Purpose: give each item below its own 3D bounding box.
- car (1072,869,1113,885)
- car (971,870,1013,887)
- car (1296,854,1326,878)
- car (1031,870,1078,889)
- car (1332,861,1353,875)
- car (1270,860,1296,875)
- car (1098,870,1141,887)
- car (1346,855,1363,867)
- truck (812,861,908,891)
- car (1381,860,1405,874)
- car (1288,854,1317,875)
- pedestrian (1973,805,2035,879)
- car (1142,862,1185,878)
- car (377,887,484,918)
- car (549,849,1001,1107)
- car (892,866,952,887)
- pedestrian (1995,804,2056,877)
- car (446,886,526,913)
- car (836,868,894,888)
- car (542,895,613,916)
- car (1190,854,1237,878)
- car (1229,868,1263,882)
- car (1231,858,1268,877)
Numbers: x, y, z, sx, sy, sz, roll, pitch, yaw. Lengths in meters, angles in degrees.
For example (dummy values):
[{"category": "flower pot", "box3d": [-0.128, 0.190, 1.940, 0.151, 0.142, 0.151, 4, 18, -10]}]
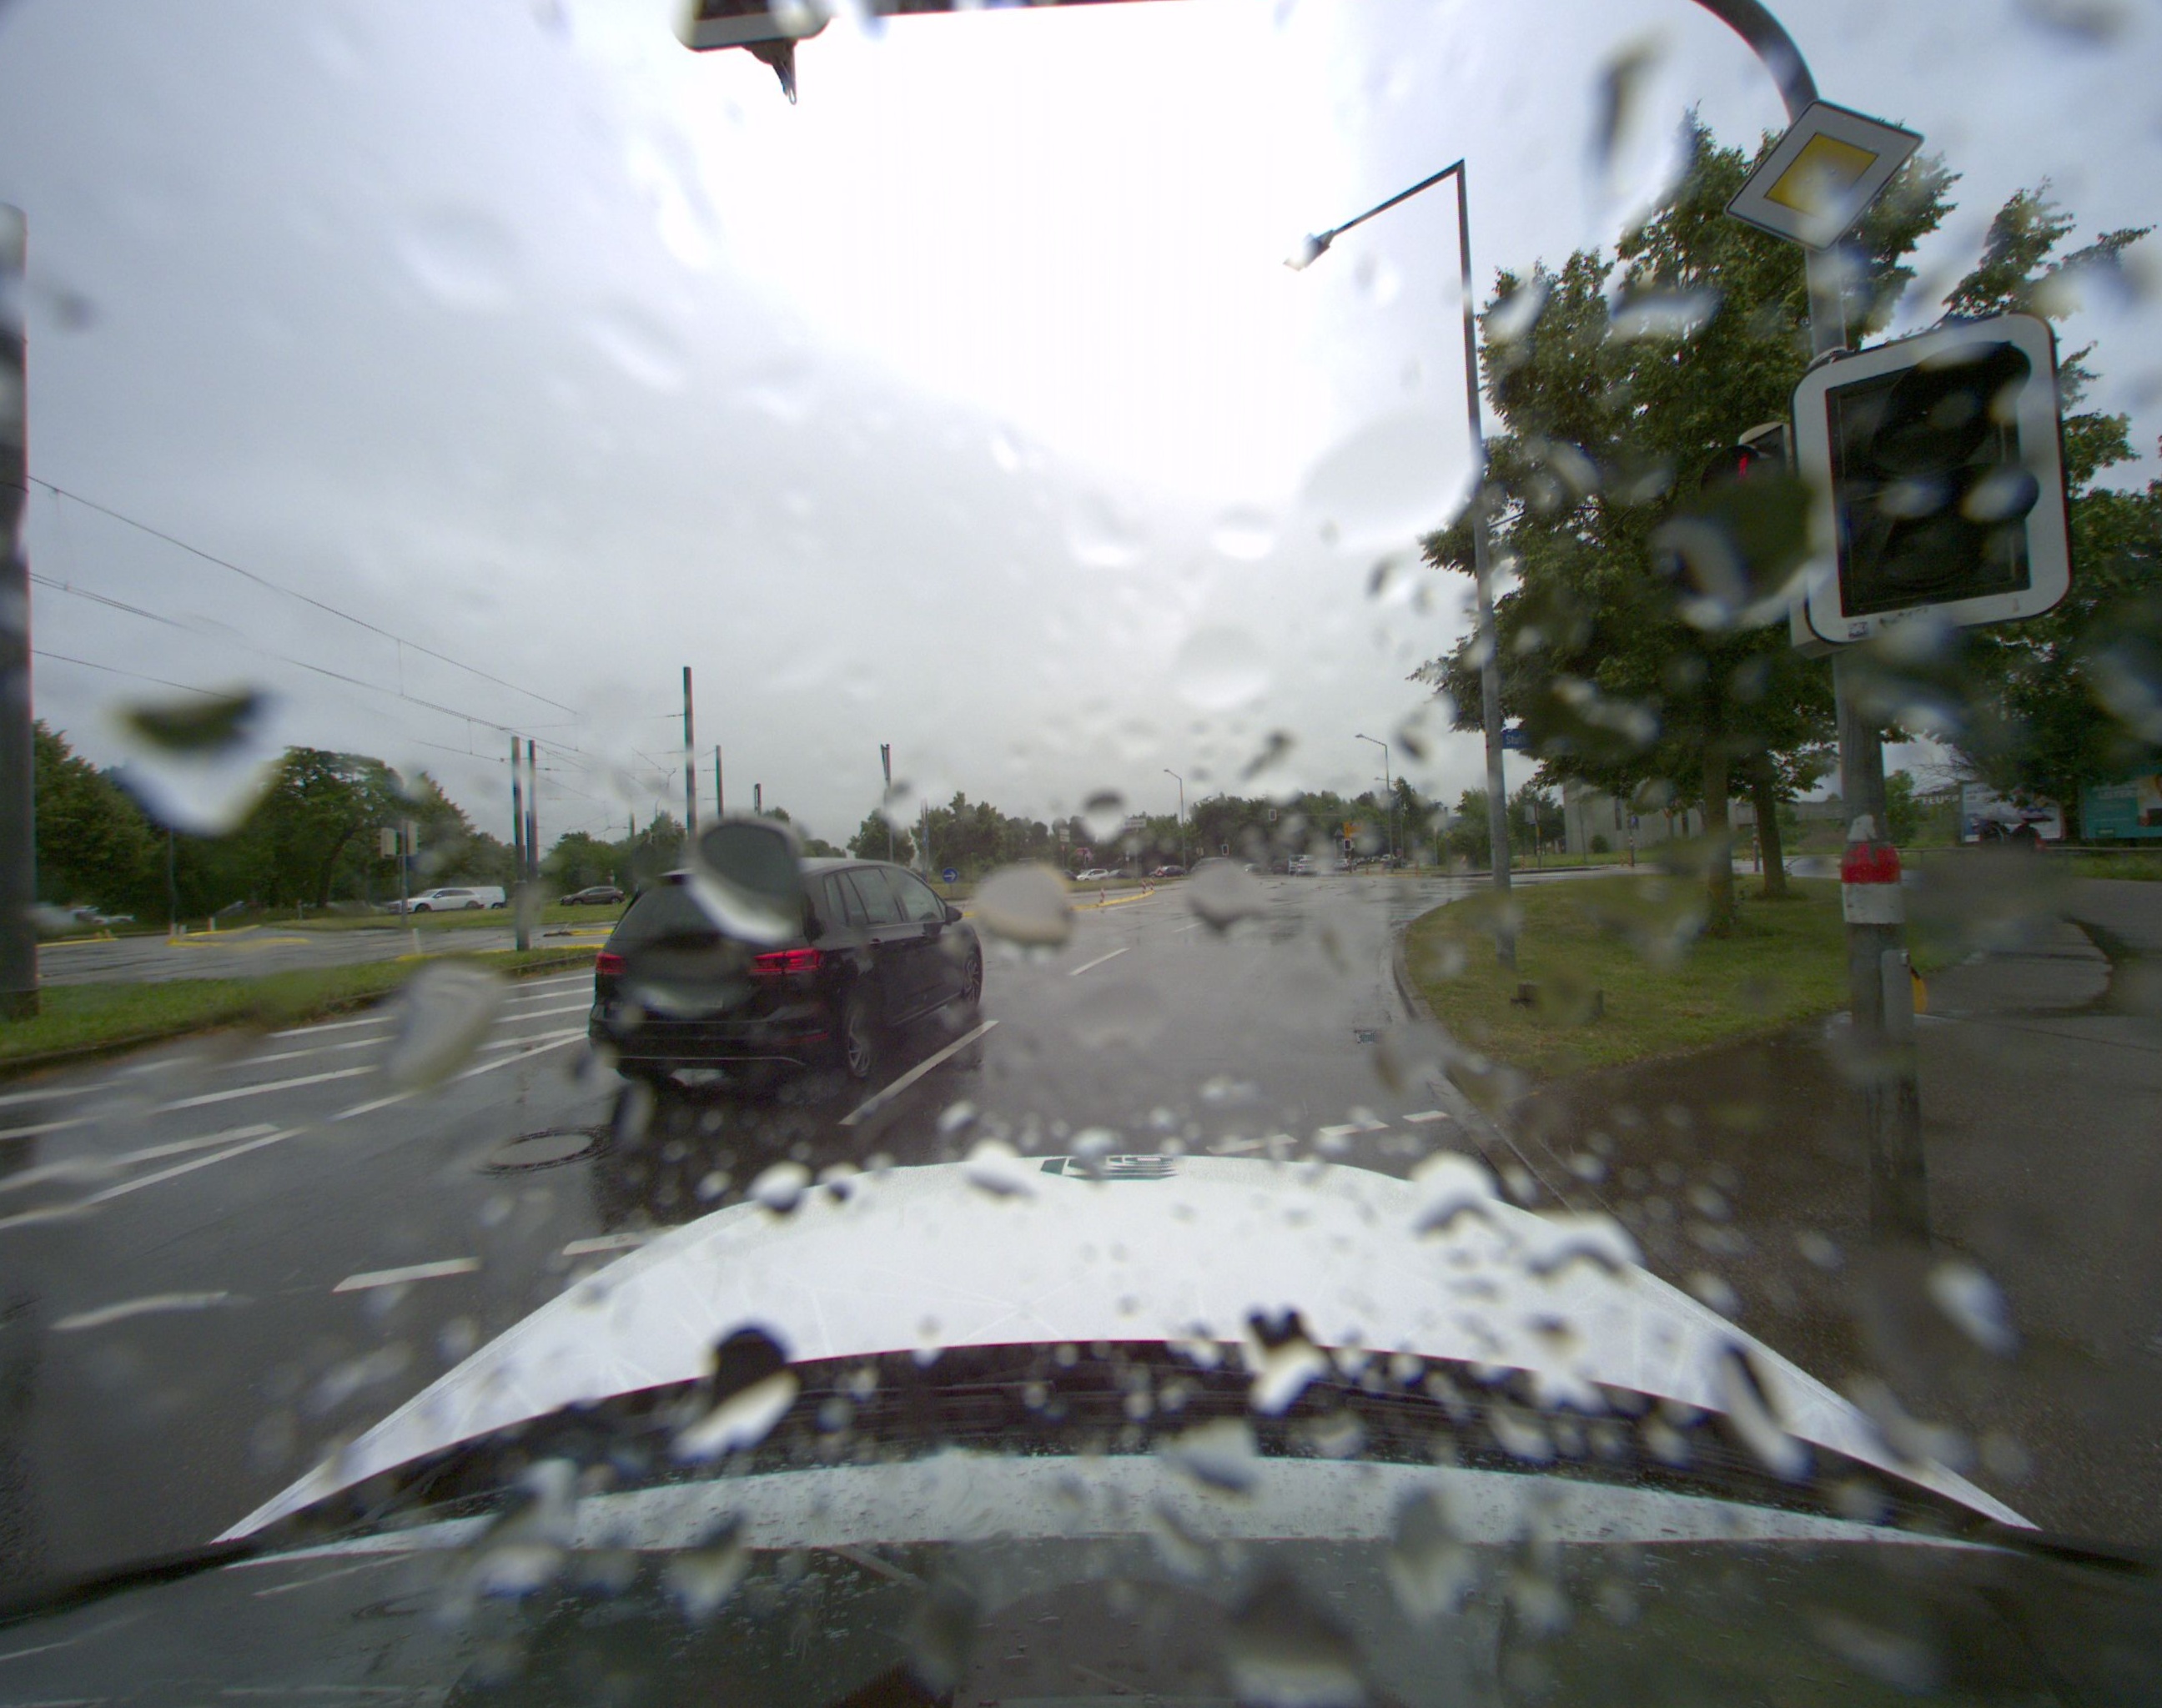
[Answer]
[{"category": "car", "box3d": [1.245, 2.432, 86.757, 4.013, 1.648, 1.771, 1, -2, -32]}, {"category": "car", "box3d": [-8.965, 2.466, 82.270, 3.994, 1.648, 1.779, 0, -2, -16]}, {"category": "car", "box3d": [18.698, 0.950, 66.088, 1.768, 1.811, 4.863, -3, -1, 22]}, {"category": "car", "box3d": [-2.474, 2.361, 75.964, 3.999, 1.648, 1.777, 0, -2, -19]}, {"category": "car", "box3d": [31.590, 1.674, 98.198, 1.672, 1.492, 3.271, -3, -1, 30]}, {"category": "car", "box3d": [21.379, 1.418, 86.111, 1.672, 1.492, 3.271, -1, -2, 33]}, {"category": "car", "box3d": [3.926, 2.498, 83.082, 3.999, 1.648, 1.777, 0, -2, -19]}, {"category": "car", "box3d": [46.815, 1.202, 139.443, 1.770, 2.014, 3.697, -1, -2, 36]}, {"category": "truck", "box3d": [-21.064, 2.091, 78.036, 8.783, 2.711, 1.990, 0, -2, -15]}, {"category": "car", "box3d": [36.184, 1.462, 94.459, 1.672, 1.492, 3.272, -3, -1, 37]}, {"category": "car", "box3d": [22.408, 1.041, 82.159, 1.766, 2.036, 4.025, -1, -2, 31]}, {"category": "pedestrian", "box3d": [22.867, -0.266, 20.178, 0.811, 1.784, 0.914, 1, -2, -36]}, {"category": "car", "box3d": [8.365, 1.629, 82.631, 4.003, 1.648, 1.776, 0, -2, -22]}, {"category": "car", "box3d": [-39.647, 2.923, 49.793, 1.757, 1.744, 4.889, -1, -1, 20]}, {"category": "car", "box3d": [-2.088, 0.782, 7.071, 1.773, 1.517, 4.342, -1, -1, 8]}, {"category": "car", "box3d": [-13.745, 1.942, 70.576, 4.873, 1.744, 1.763, 0, -2, -25]}, {"category": "pedestrian", "box3d": [23.933, -0.317, 20.639, 0.811, 1.784, 0.914, 1, -2, -36]}, {"category": "car", "box3d": [-41.846, 3.189, 57.378, 1.812, 1.724, 4.189, -1, -2, 25]}, {"category": "car", "box3d": [-19.529, 2.157, 73.828, 4.847, 1.744, 1.772, 0, -2, -8]}, {"category": "car", "box3d": [-38.820, 3.941, 62.913, 4.564, 1.492, 1.595, 1, -2, -31]}, {"category": "car", "box3d": [9.552, 0.902, 59.105, 1.787, 1.648, 3.976, 0, -1, -17]}, {"category": "car", "box3d": [19.433, 2.456, 95.778, 4.015, 1.574, 1.659, 1, -2, -34]}, {"category": "car", "box3d": [15.403, 1.219, 74.220, 1.664, 1.648, 3.971, -2, -2, 39]}]
